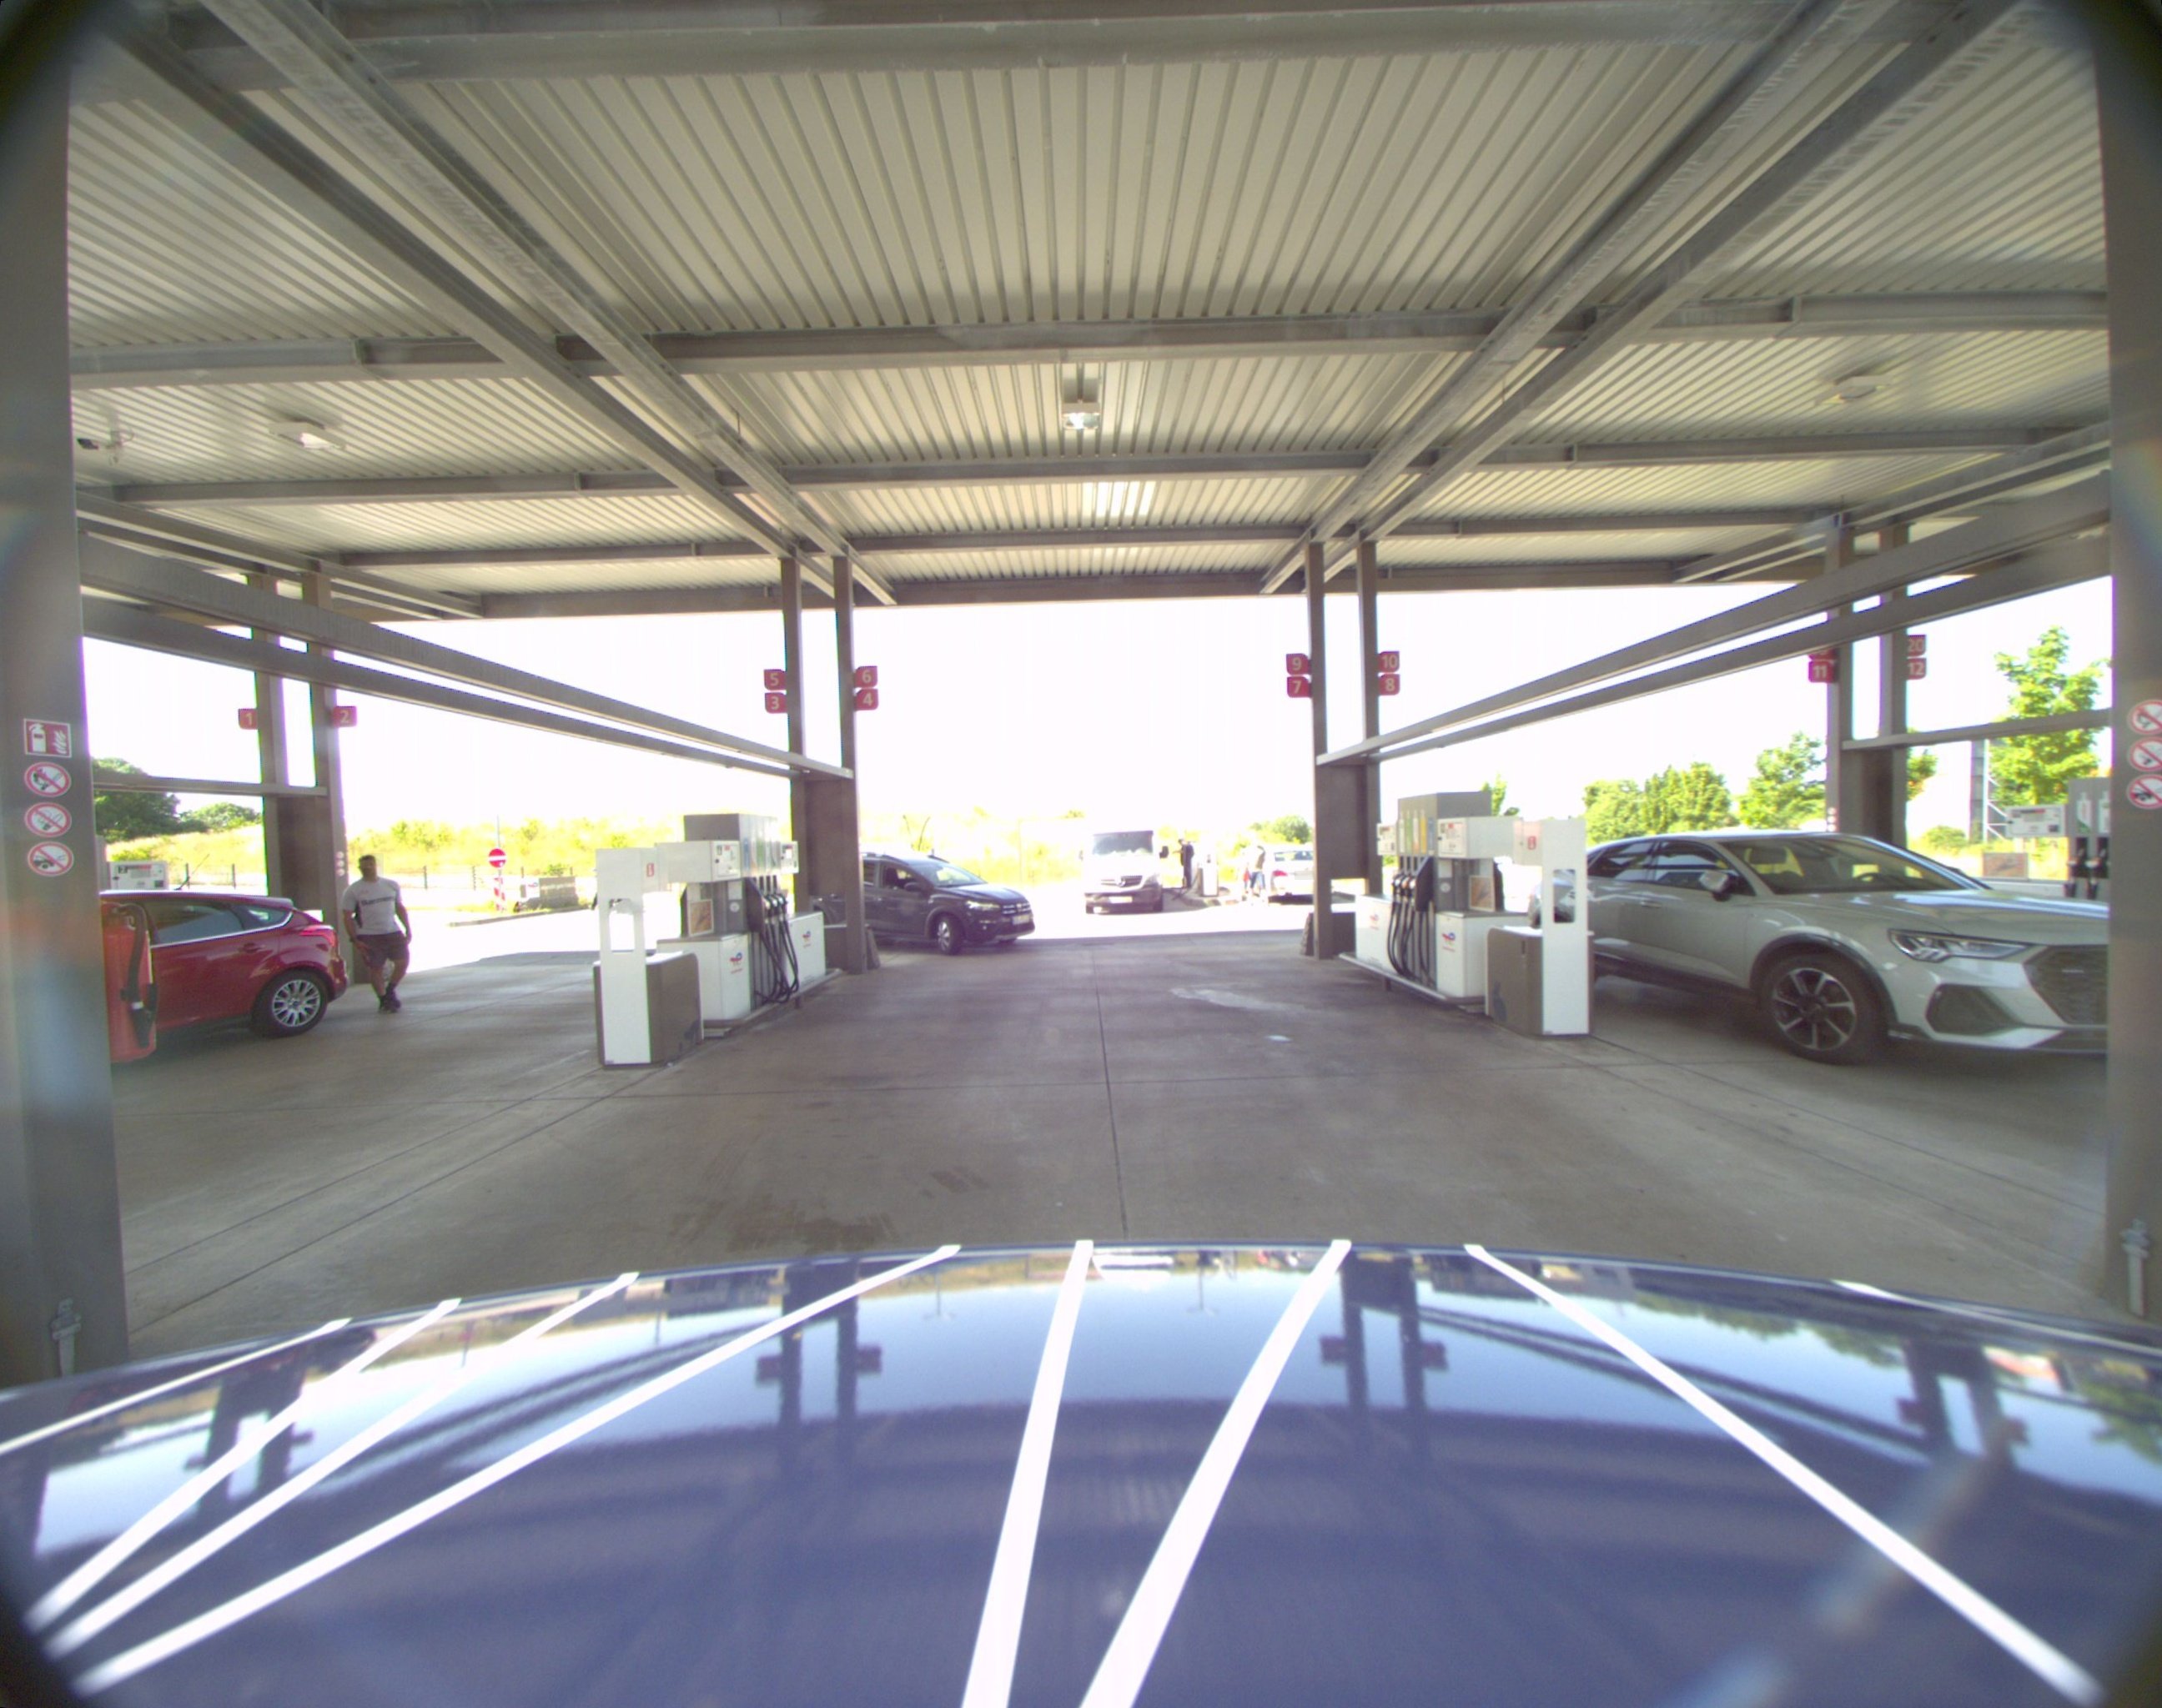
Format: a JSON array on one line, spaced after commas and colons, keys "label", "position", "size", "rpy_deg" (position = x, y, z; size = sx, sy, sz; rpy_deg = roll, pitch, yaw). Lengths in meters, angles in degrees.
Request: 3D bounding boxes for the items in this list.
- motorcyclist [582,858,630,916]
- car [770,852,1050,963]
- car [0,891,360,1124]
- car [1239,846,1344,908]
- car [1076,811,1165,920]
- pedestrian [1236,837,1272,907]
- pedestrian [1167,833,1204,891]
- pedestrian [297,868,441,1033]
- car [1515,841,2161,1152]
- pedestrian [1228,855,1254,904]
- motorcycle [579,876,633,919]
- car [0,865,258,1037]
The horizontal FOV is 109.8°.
[{"label": "motorcyclist", "position": [-14.244, 0.966, 22.808], "size": [1.036, 1.678, 1.096], "rpy_deg": [-2, 1, -24]}, {"label": "car", "position": [-3.003, 0.851, 13.166], "size": [4.620, 1.635, 1.747], "rpy_deg": [-1, 1, 27]}, {"label": "car", "position": [-8.334, 1.157, 5.735], "size": [1.703, 1.460, 4.232], "rpy_deg": [-2, 1, 0]}, {"label": "car", "position": [5.715, 0.560, 21.199], "size": [1.792, 1.420, 4.321], "rpy_deg": [-2, 2, 1]}, {"label": "car", "position": [1.309, 0.115, 21.436], "size": [1.997, 2.557, 7.031], "rpy_deg": [-1, 3, 7]}, {"label": "pedestrian", "position": [4.418, 0.455, 19.470], "size": [0.708, 1.739, 0.845], "rpy_deg": [-2, 1, 3]}, {"label": "pedestrian", "position": [3.246, 0.241, 23.670], "size": [0.710, 1.759, 0.843], "rpy_deg": [-3, 1, -43]}, {"label": "pedestrian", "position": [-7.757, 1.015, 8.307], "size": [0.926, 1.693, 0.704], "rpy_deg": [-1, 1, 14]}, {"label": "car", "position": [5.552, 0.700, 6.001], "size": [1.785, 1.532, 4.325], "rpy_deg": [-2, 1, 1]}, {"label": "pedestrian", "position": [4.356, 0.683, 20.693], "size": [0.577, 1.299, 0.669], "rpy_deg": [-2, 1, 3]}, {"label": "motorcycle", "position": [-14.249, 1.279, 22.874], "size": [1.047, 1.100, 2.410], "rpy_deg": [-2, 2, -24]}, {"label": "car", "position": [-12.957, 1.081, 9.048], "size": [2.035, 1.840, 4.791], "rpy_deg": [-1, 0, -16]}]
